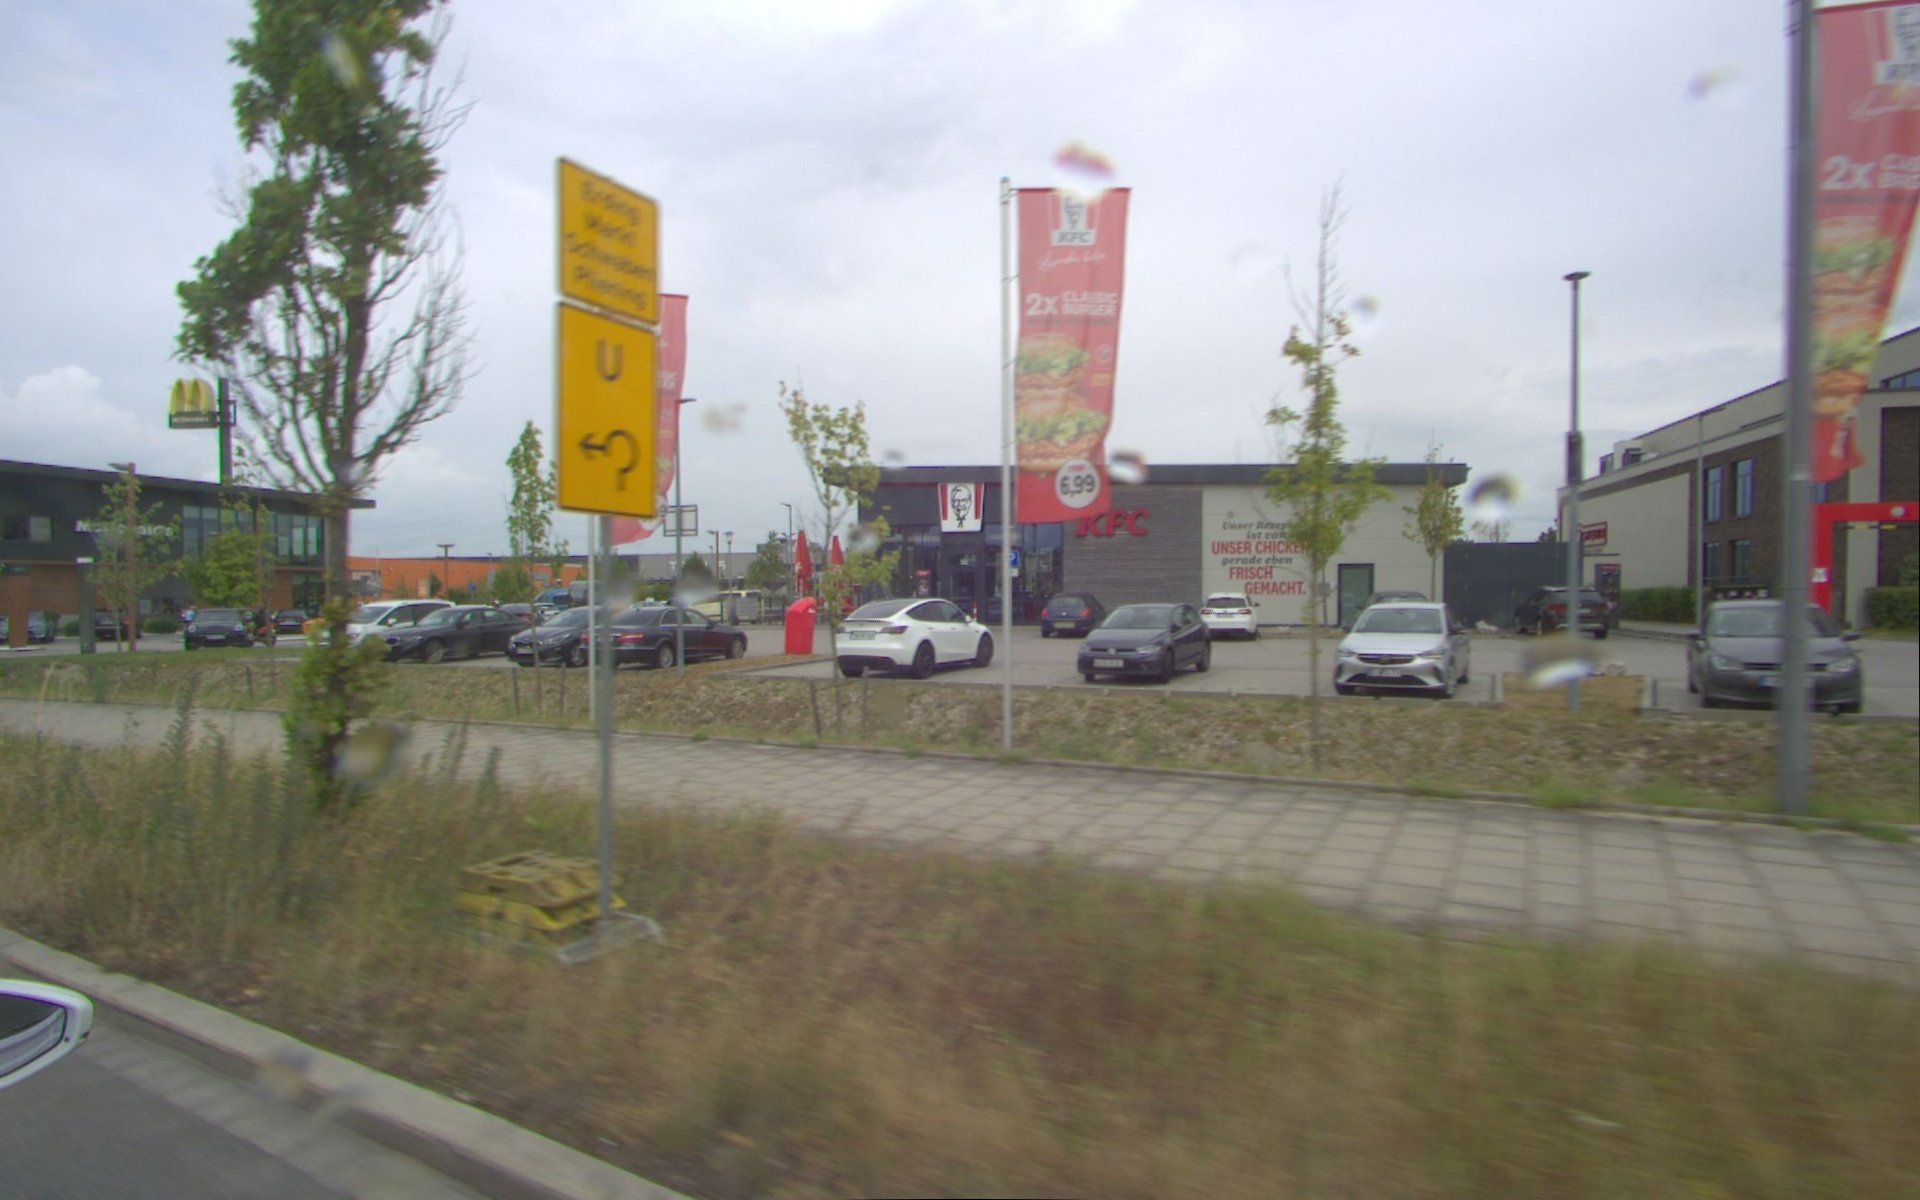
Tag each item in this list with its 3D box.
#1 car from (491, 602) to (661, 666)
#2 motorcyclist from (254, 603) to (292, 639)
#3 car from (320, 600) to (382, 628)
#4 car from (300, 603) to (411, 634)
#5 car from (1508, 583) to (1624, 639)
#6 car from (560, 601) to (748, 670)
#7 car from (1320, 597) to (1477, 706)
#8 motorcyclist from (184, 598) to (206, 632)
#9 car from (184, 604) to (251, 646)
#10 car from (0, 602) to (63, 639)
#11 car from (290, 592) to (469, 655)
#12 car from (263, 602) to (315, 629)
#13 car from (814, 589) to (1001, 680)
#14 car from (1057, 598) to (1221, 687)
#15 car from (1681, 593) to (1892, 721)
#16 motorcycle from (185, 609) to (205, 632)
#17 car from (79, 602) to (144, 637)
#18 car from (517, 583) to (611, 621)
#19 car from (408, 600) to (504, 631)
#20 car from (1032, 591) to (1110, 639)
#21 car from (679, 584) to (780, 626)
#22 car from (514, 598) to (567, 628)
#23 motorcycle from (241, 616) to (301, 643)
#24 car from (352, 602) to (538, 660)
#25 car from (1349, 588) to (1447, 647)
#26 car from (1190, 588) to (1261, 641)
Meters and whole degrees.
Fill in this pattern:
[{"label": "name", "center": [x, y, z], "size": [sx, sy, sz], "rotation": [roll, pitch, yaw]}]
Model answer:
[{"label": "car", "center": [-9.845, 0.813, 26.016], "size": [1.909, 1.457, 4.087], "rotation": [0, 1, 20]}, {"label": "motorcyclist", "center": [-25.866, 0.788, 37.703], "size": [0.879, 1.352, 0.782], "rotation": [-1, 1, 5]}, {"label": "car", "center": [-39.348, 0.911, 64.797], "size": [1.962, 1.745, 3.998], "rotation": [0, 0, -7]}, {"label": "car", "center": [-30.267, 0.909, 50.266], "size": [4.668, 1.463, 1.988], "rotation": [-1, 0, -33]}, {"label": "car", "center": [18.350, 0.282, 30.560], "size": [1.862, 1.539, 4.569], "rotation": [0, 1, 16]}, {"label": "car", "center": [-7.328, 0.781, 24.506], "size": [1.997, 1.488, 4.520], "rotation": [0, 0, 22]}, {"label": "car", "center": [7.400, 0.749, 16.688], "size": [1.875, 1.501, 3.852], "rotation": [0, 2, 32]}, {"label": "motorcyclist", "center": [-41.823, 0.812, 54.748], "size": [0.952, 1.856, 0.839], "rotation": [0, 0, -37]}, {"label": "car", "center": [-25.892, 0.833, 35.016], "size": [1.794, 1.330, 3.822], "rotation": [-1, 1, -36]}, {"label": "car", "center": [-44.554, 0.964, 48.025], "size": [1.976, 1.739, 3.969], "rotation": [0, 0, -38]}, {"label": "car", "center": [-16.593, 0.621, 28.923], "size": [1.902, 1.661, 4.355], "rotation": [0, 0, 16]}, {"label": "car", "center": [-40.714, 0.948, 60.718], "size": [1.980, 1.602, 3.961], "rotation": [0, 0, -44]}, {"label": "car", "center": [-0.985, 0.643, 21.695], "size": [2.055, 1.667, 4.557], "rotation": [0, 2, 27]}, {"label": "car", "center": [3.639, 0.760, 19.795], "size": [1.912, 1.504, 3.980], "rotation": [-1, 0, 30]}, {"label": "car", "center": [11.250, 0.670, 13.902], "size": [1.864, 1.514, 3.748], "rotation": [0, 0, 34]}, {"label": "motorcycle", "center": [-41.808, 1.113, 54.746], "size": [0.849, 1.261, 1.952], "rotation": [0, 0, -37]}, {"label": "car", "center": [-43.798, 1.002, 51.803], "size": [2.095, 1.739, 4.203], "rotation": [0, 0, -34]}, {"label": "car", "center": [-27.534, 0.118, 69.596], "size": [5.952, 2.562, 2.272], "rotation": [0, 1, -26]}, {"label": "car", "center": [-28.743, 0.871, 57.174], "size": [4.671, 1.678, 1.987], "rotation": [-1, 0, -35]}, {"label": "car", "center": [3.954, 0.472, 35.048], "size": [2.010, 1.539, 4.371], "rotation": [0, 1, 16]}, {"label": "car", "center": [-13.752, 0.273, 59.693], "size": [5.605, 2.382, 2.524], "rotation": [0, 1, 30]}, {"label": "car", "center": [-21.813, 0.665, 51.988], "size": [1.929, 1.462, 4.194], "rotation": [-1, 0, -32]}, {"label": "motorcycle", "center": [-25.941, 1.107, 37.733], "size": [1.788, 0.998, 0.740], "rotation": [-1, 1, 5]}, {"label": "car", "center": [-14.267, 0.794, 28.069], "size": [2.037, 1.456, 4.473], "rotation": [0, 0, 19]}, {"label": "car", "center": [12.516, 0.449, 28.875], "size": [1.941, 1.539, 4.569], "rotation": [0, 1, 16]}, {"label": "car", "center": [8.715, 0.424, 32.618], "size": [2.043, 1.539, 4.567], "rotation": [0, 1, 17]}]
